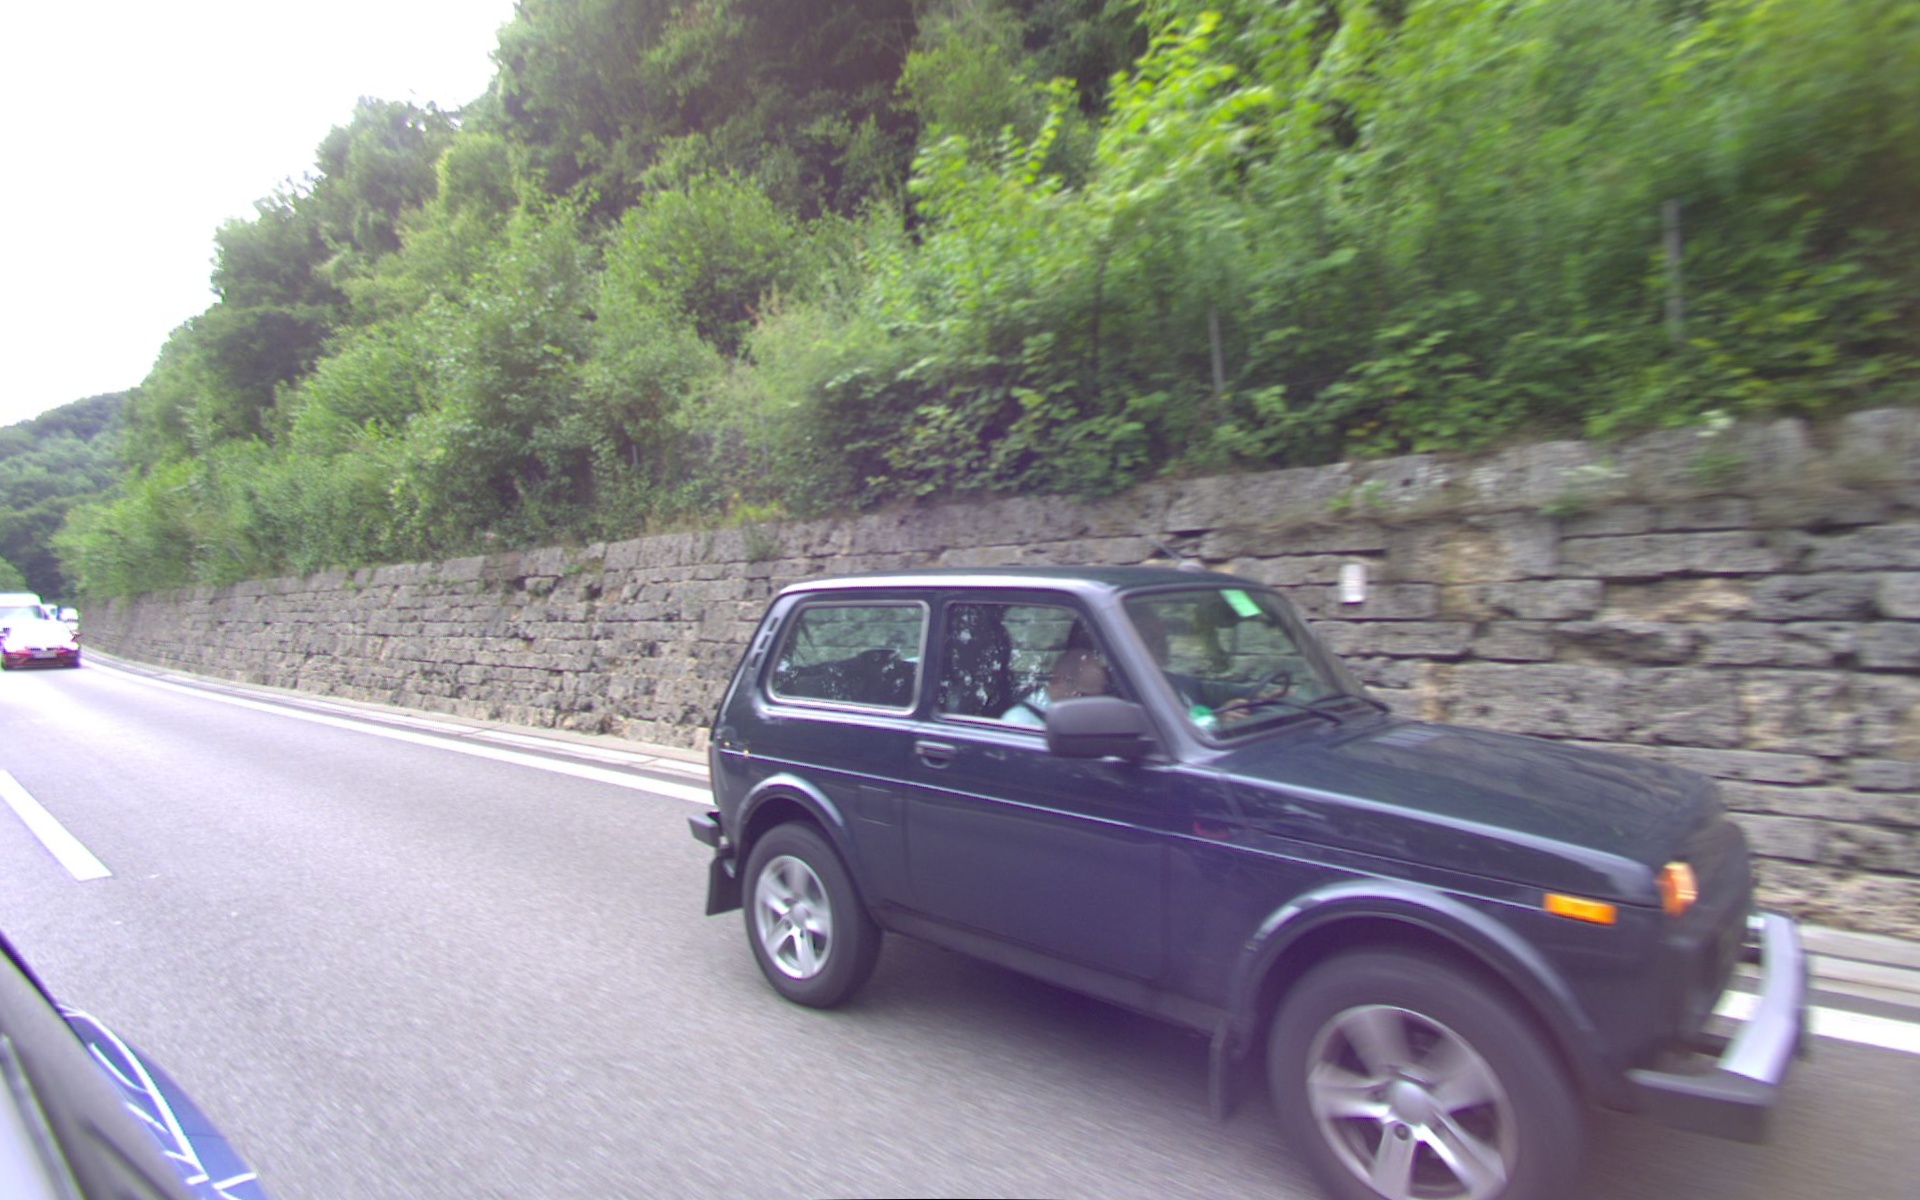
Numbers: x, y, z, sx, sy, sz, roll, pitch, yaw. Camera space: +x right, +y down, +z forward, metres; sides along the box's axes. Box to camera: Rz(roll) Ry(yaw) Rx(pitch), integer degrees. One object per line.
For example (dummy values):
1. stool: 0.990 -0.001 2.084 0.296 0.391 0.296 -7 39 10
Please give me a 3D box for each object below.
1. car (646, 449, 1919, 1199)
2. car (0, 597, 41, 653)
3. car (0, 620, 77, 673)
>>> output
1. car: 0.739 0.604 3.520 4.067 1.651 1.651 -1 -1 42
2. car: -46.454 1.205 49.625 2.002 2.605 6.281 0 -1 -43
3. car: -28.229 1.361 30.810 1.746 1.471 4.414 0 -1 -45
